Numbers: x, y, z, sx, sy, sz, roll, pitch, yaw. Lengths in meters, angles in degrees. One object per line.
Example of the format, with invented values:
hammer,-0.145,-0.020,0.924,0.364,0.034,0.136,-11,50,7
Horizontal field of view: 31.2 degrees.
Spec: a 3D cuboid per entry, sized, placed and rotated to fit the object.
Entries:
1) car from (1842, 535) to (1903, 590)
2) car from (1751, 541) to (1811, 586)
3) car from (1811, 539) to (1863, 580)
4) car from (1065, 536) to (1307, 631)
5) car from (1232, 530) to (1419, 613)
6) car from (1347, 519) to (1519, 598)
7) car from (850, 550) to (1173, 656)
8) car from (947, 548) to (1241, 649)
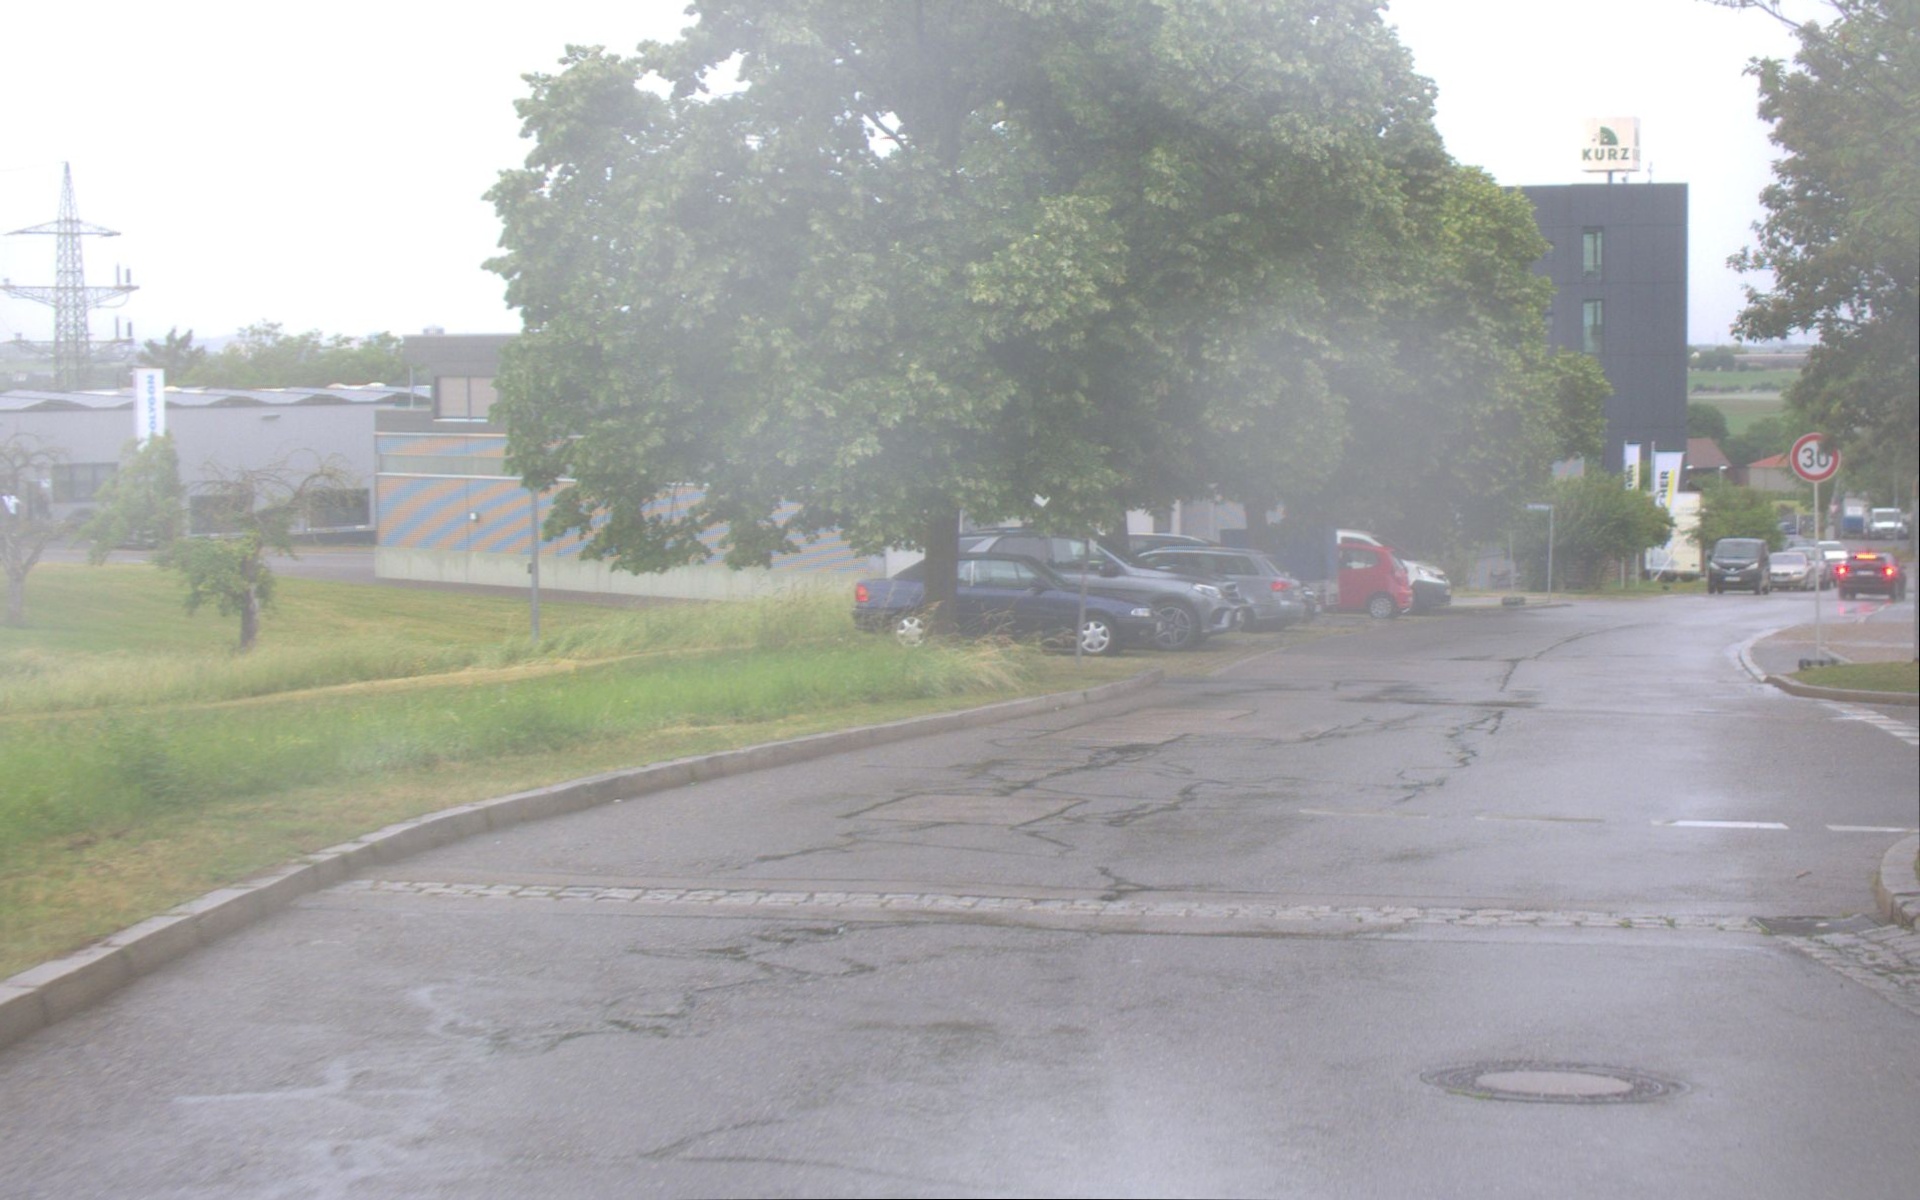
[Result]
car,28.545,-1.194,107.470,1.688,1.546,3.694,2,3,17
car,30.427,-1.354,127.392,1.877,1.591,3.997,-1,1,17
car,35.377,-1.648,138.638,1.793,1.591,3.997,-1,1,17
car,3.790,-0.296,57.348,3.871,1.542,1.773,0,1,10
car,7.468,-0.578,70.118,3.563,1.600,1.692,-1,1,13
car,11.393,-1.004,82.713,3.988,1.804,1.999,-1,1,11
car,0.738,0.037,47.356,4.167,1.350,1.861,-1,1,11
car,1.954,-0.027,49.585,3.988,1.356,1.853,-1,1,11
